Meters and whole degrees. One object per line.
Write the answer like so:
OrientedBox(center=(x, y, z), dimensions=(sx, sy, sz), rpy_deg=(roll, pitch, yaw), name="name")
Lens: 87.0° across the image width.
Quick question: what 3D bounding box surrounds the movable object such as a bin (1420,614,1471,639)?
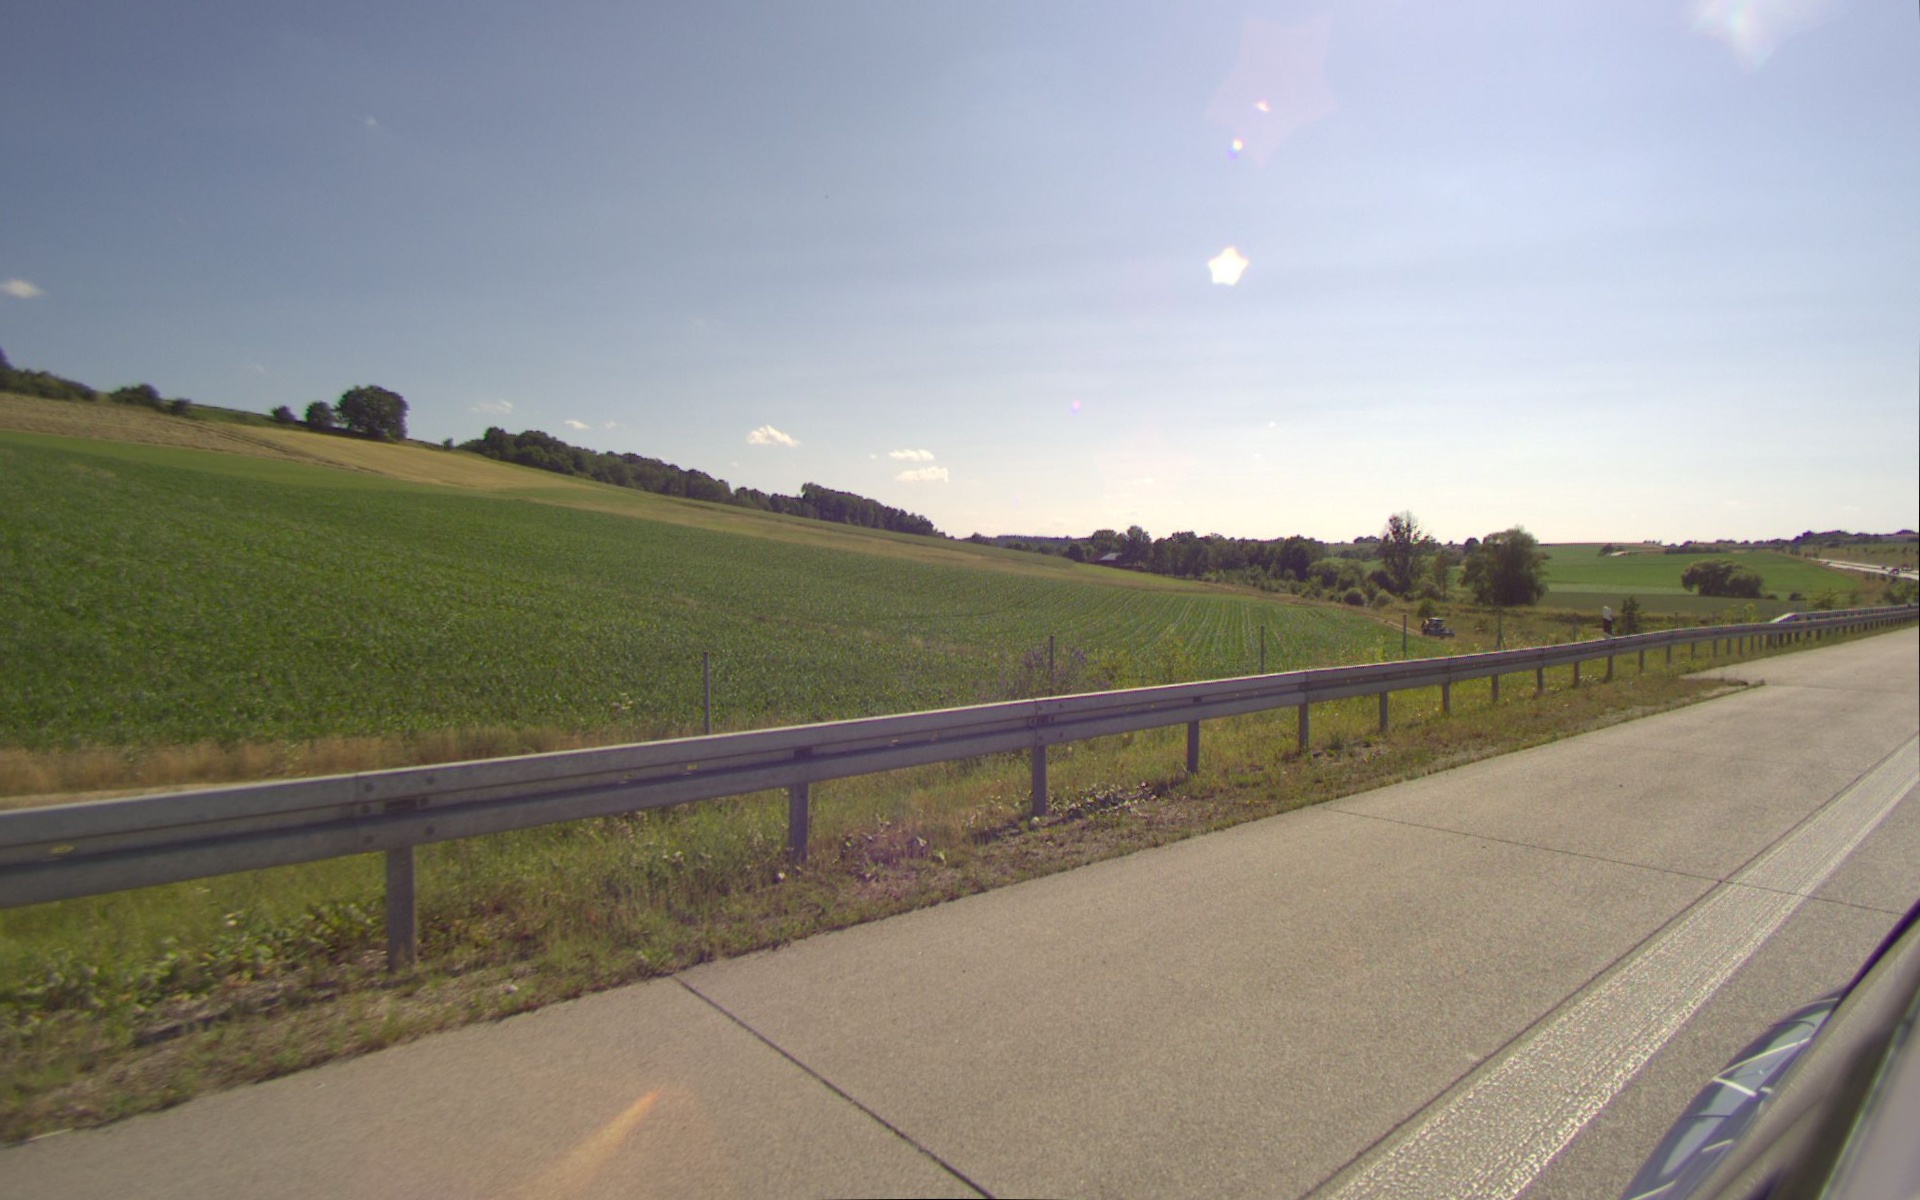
OrientedBox(center=(62.509, 3.402, 130.503), dimensions=(3.222, 2.805, 6.238), rpy_deg=(-2, 1, -3), name="movable object such as a bin")
